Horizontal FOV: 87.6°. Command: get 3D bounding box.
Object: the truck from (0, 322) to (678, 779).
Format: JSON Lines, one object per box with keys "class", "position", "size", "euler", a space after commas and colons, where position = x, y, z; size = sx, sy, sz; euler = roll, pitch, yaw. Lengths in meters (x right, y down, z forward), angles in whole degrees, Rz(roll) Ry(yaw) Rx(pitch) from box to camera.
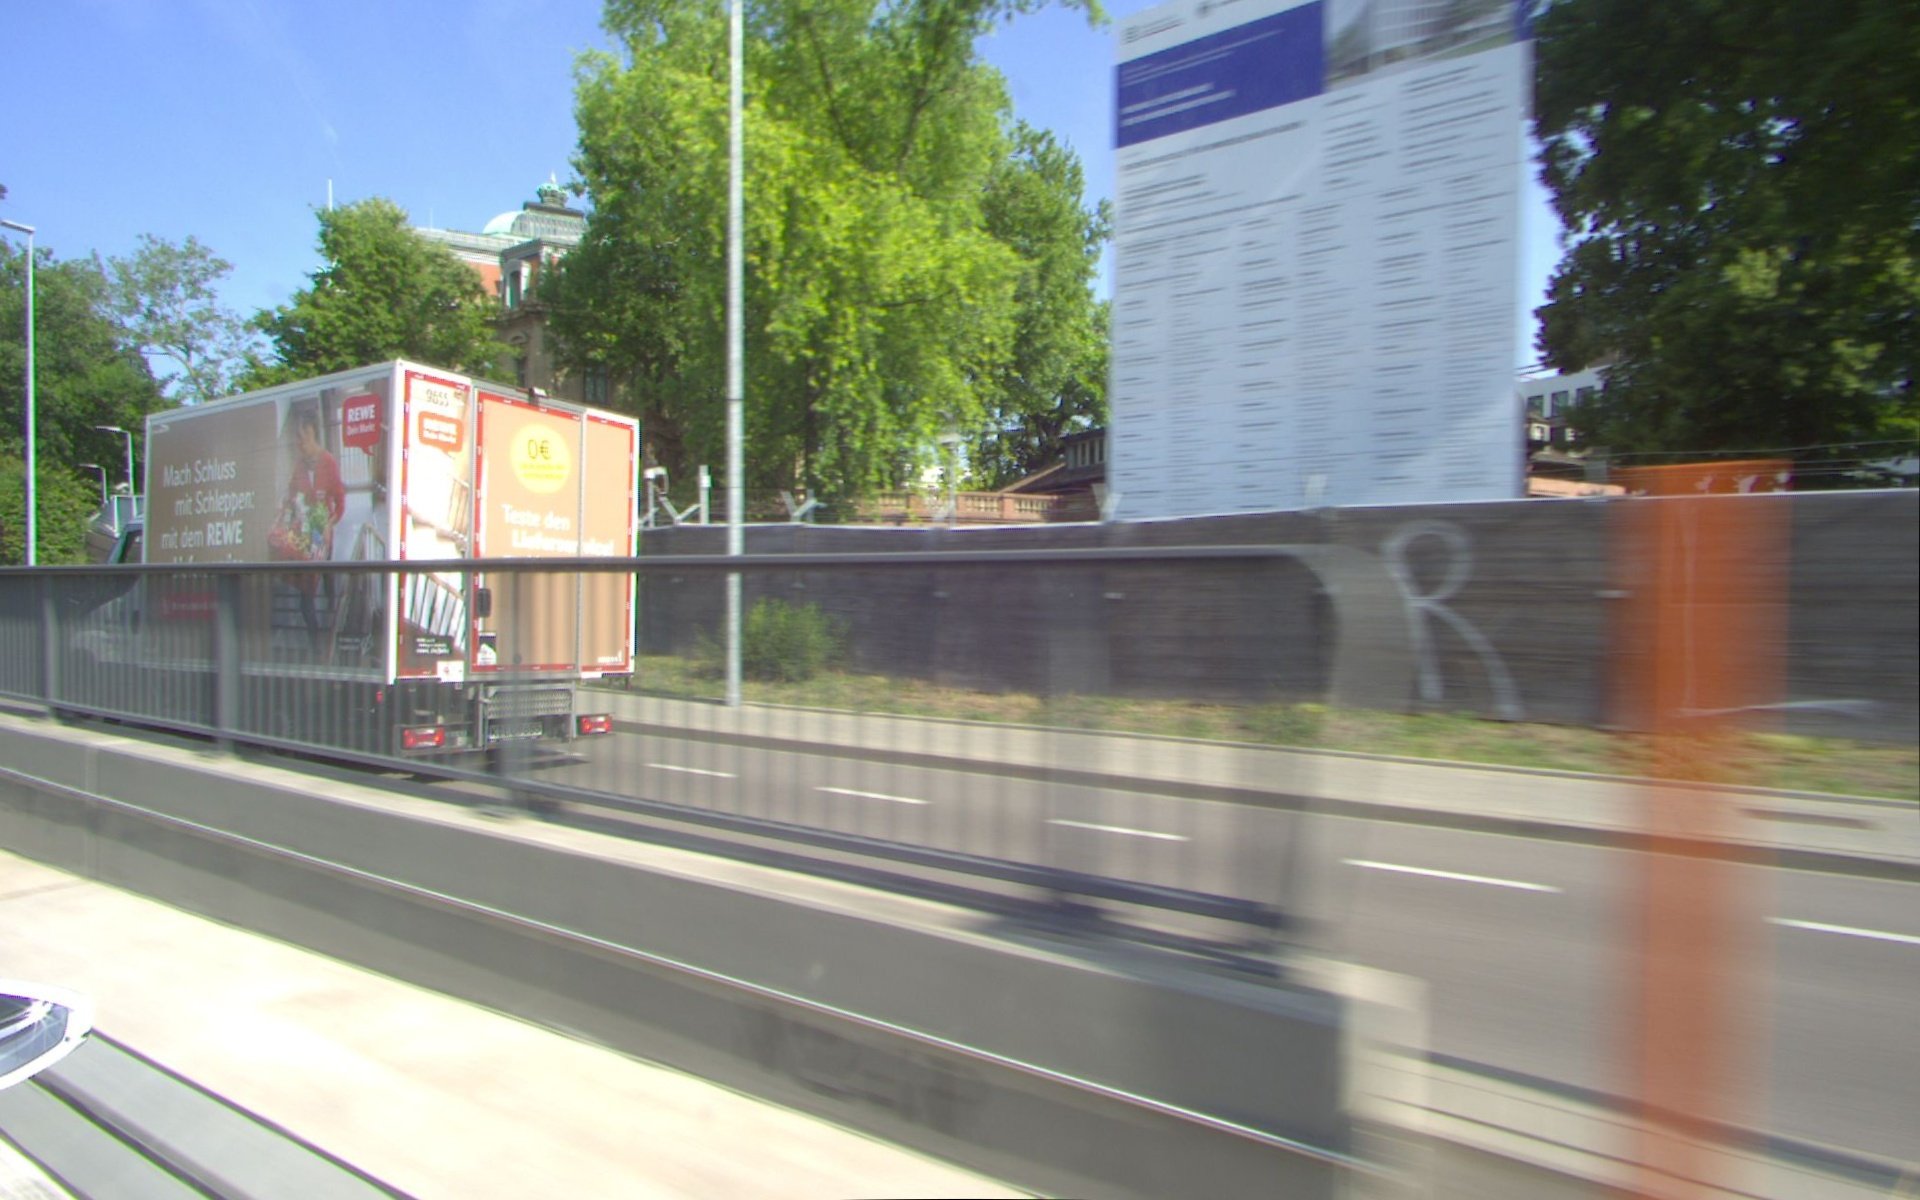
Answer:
{"class": "truck", "position": [-6.489, -0.318, 9.867], "size": [7.704, 3.100, 2.499], "euler": [1, -2, 31]}
